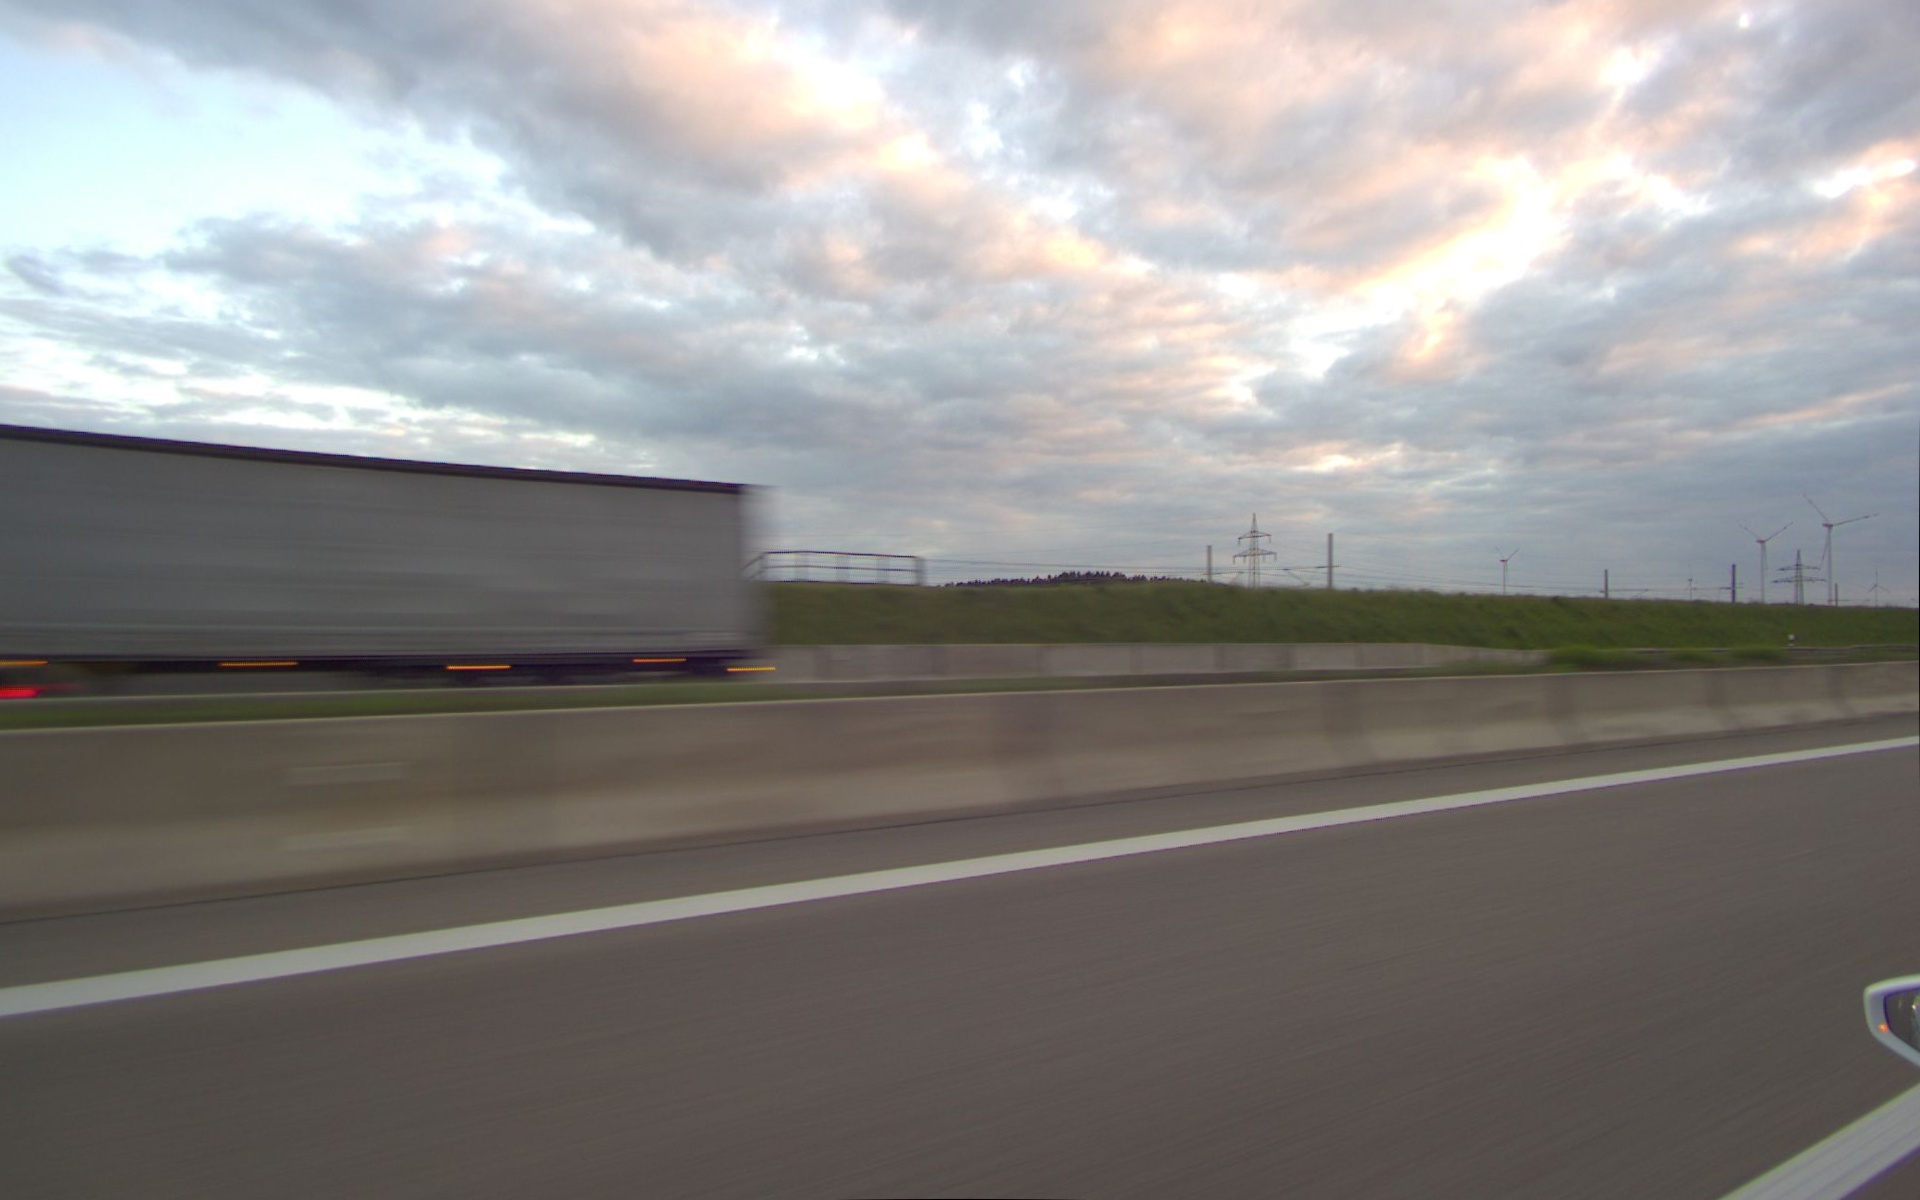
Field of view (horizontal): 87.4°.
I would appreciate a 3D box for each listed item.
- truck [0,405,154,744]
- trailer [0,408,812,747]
[{"bbox_3d":[-15.102,-0.382,13.153,6.660,4.411,2.804,1,0,-31],"label":"truck"},{"bbox_3d":[-8.962,-0.222,16.777,12.687,4.411,2.804,1,0,-30],"label":"trailer"}]
